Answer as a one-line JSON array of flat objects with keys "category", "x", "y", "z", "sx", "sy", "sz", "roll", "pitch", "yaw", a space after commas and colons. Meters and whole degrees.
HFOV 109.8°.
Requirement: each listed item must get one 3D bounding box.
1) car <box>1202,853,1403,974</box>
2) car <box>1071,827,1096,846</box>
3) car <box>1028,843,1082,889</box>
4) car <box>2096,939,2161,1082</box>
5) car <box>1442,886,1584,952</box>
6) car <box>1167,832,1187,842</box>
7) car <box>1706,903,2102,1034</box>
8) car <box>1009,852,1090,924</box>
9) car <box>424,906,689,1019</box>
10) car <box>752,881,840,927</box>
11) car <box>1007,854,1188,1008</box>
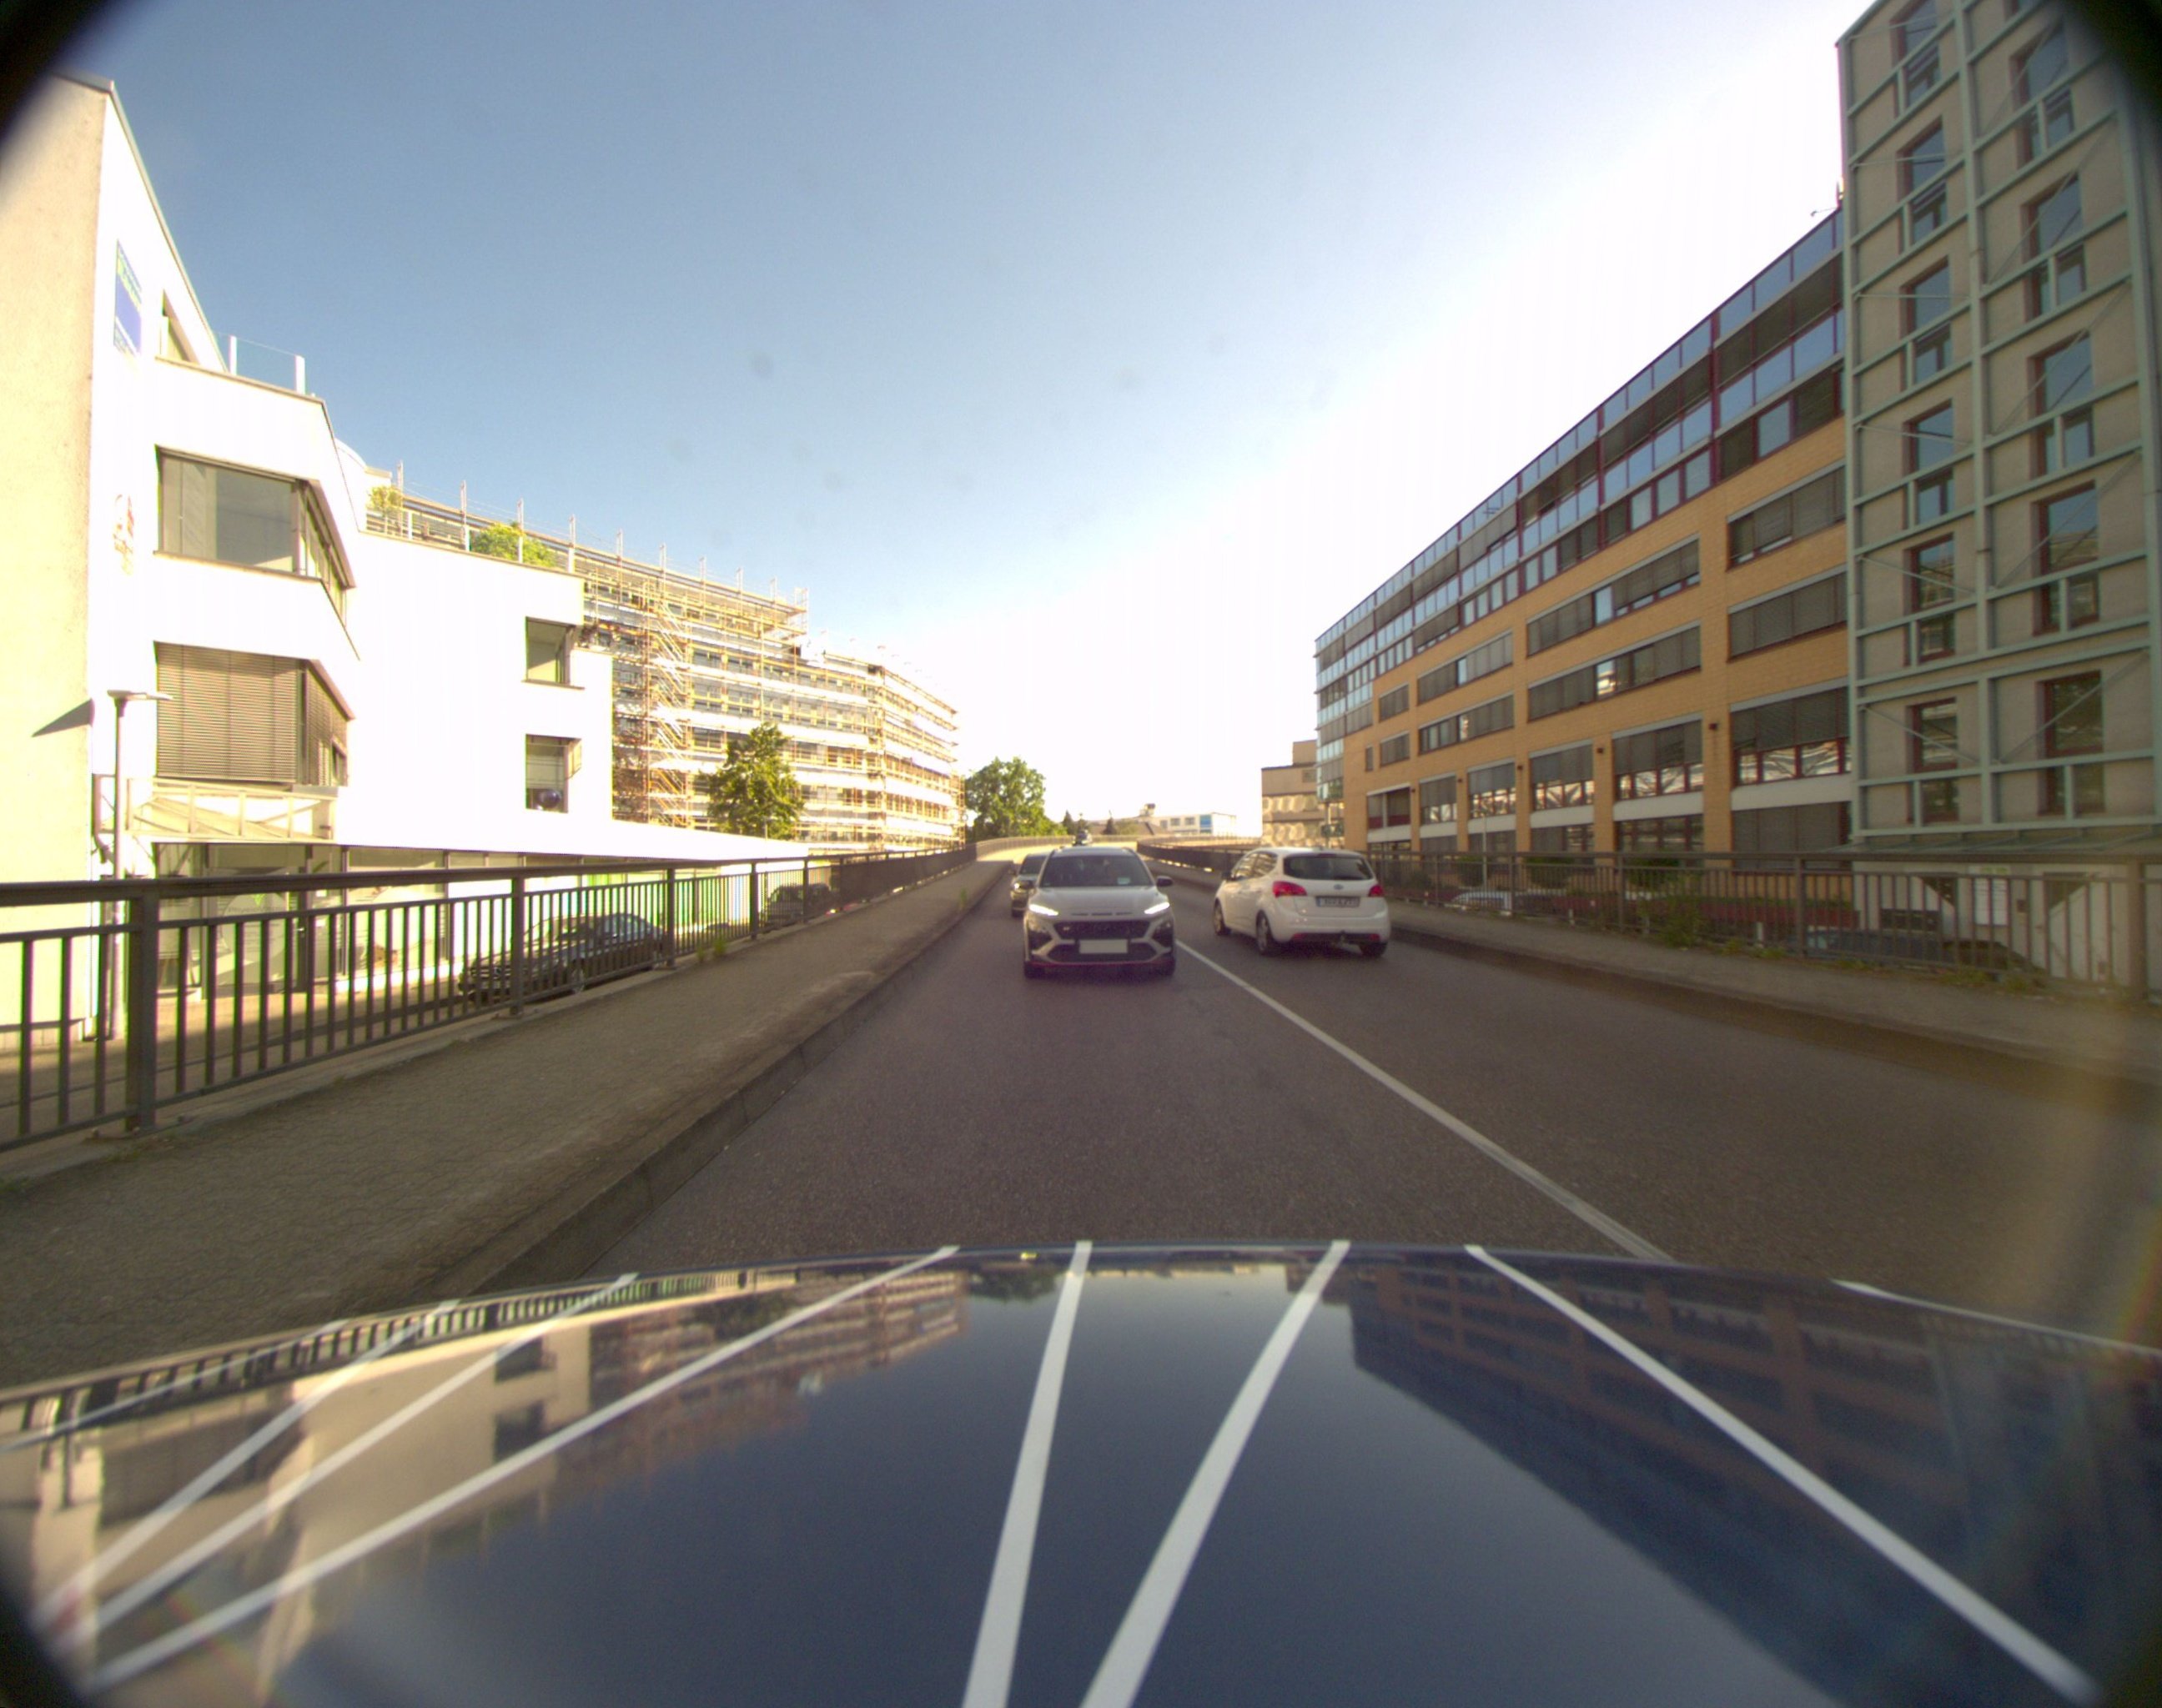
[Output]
[{"category": "car", "x": 3.290, "y": 0.792, "z": 12.164, "sx": 1.825, "sy": 1.594, "sz": 3.998, "roll": 1, "pitch": 0, "yaw": -3}, {"category": "car", "x": 0.381, "y": -2.140, "z": 91.601, "sx": 1.907, "sy": 2.202, "sz": 4.601, "roll": 0, "pitch": 4, "yaw": 15}, {"category": "car", "x": -0.946, "y": 0.385, "z": 28.707, "sx": 1.849, "sy": 1.527, "sz": 4.506, "roll": -2, "pitch": 1, "yaw": -1}, {"category": "car", "x": 13.503, "y": 1.821, "z": 7.211, "sx": 1.825, "sy": 1.594, "sz": 4.356, "roll": 0, "pitch": -1, "yaw": -3}, {"category": "car", "x": 12.890, "y": 1.880, "z": 22.996, "sx": 1.999, "sy": 1.714, "sz": 4.000, "roll": 0, "pitch": -1, "yaw": 0}, {"category": "car", "x": 15.329, "y": -2.709, "z": 121.223, "sx": 1.821, "sy": 1.594, "sz": 4.007, "roll": -1, "pitch": 0, "yaw": 28}, {"category": "car", "x": 13.323, "y": 1.735, "z": 12.810, "sx": 1.825, "sy": 1.594, "sz": 4.356, "roll": 0, "pitch": -1, "yaw": -3}, {"category": "car", "x": -0.687, "y": 0.730, "z": 18.512, "sx": 1.721, "sy": 1.483, "sz": 4.168, "roll": -2, "pitch": 1, "yaw": 0}, {"category": "car", "x": -9.865, "y": 1.958, "z": 14.884, "sx": 1.849, "sy": 1.422, "sz": 4.681, "roll": -2, "pitch": 1, "yaw": 1}, {"category": "car", "x": -10.693, "y": 1.839, "z": 28.840, "sx": 1.849, "sy": 1.526, "sz": 4.000, "roll": 0, "pitch": -1, "yaw": 0}, {"category": "car", "x": 0.140, "y": 0.807, "z": 10.047, "sx": 1.849, "sy": 1.561, "sz": 4.220, "roll": -1, "pitch": 0, "yaw": -1}]
